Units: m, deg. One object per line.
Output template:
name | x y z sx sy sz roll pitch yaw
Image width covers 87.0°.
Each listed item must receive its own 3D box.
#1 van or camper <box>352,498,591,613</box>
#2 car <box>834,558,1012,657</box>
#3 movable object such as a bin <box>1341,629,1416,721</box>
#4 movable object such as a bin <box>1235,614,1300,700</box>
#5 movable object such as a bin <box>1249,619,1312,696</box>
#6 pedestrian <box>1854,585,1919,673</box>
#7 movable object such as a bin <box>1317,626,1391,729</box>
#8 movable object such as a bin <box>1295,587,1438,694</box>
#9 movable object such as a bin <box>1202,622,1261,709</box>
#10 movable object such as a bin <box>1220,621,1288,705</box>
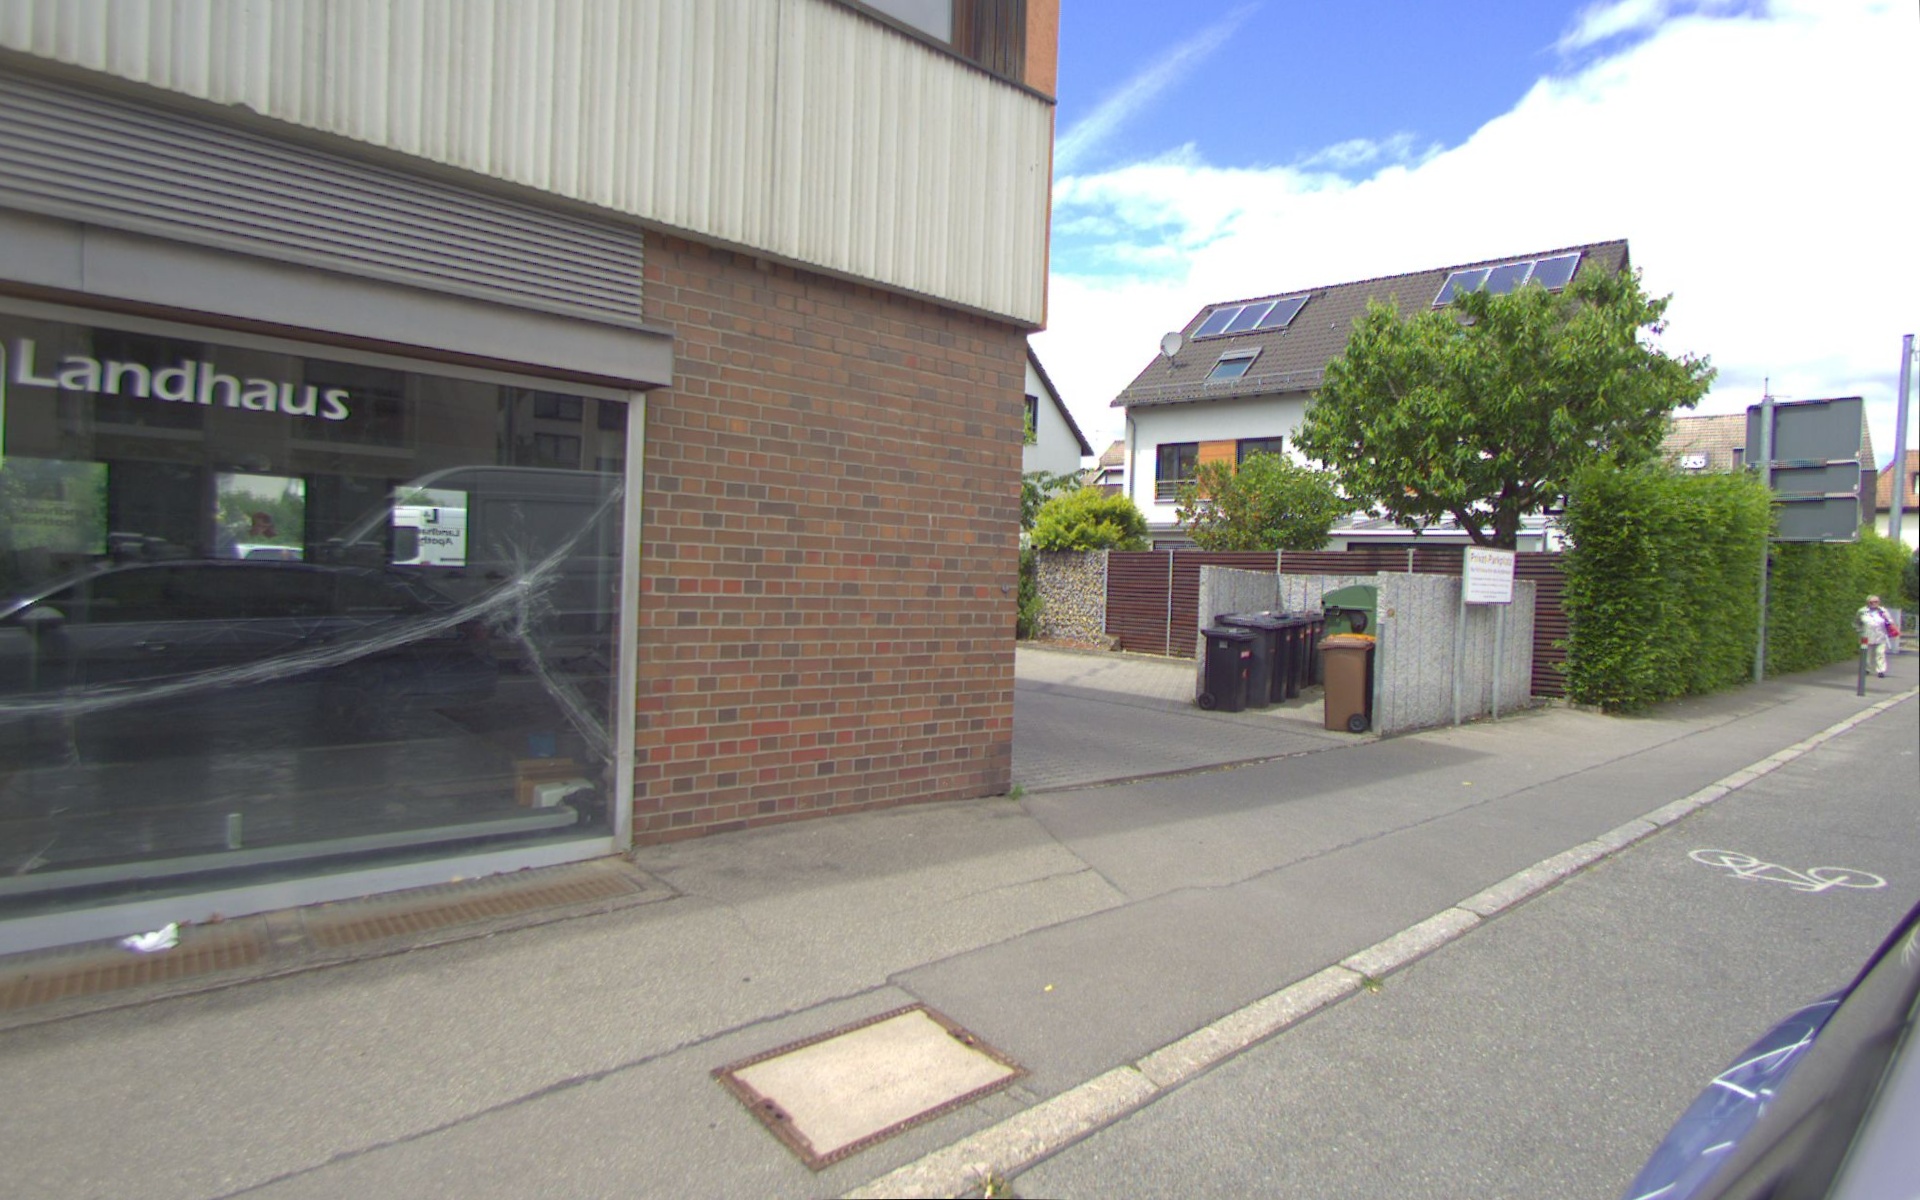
van or camper | -12.048 -1.068 25.476 2.034 2.574 5.474 2 1 21
car | -0.548 0.078 18.351 1.768 1.555 3.767 2 2 23
movable object such as a bin | 4.495 0.787 10.860 0.532 0.903 0.668 2 1 43
movable object such as a bin | 3.732 0.678 12.279 0.624 0.979 0.534 1 1 33
movable object such as a bin | 4.033 0.711 12.733 0.630 0.903 0.534 1 1 33
pedestrian | 18.059 0.549 19.700 0.641 1.637 0.801 1 3 -39
movable object such as a bin | 4.008 0.762 10.282 0.530 0.963 0.678 1 1 36
movable object such as a bin | 5.308 0.487 13.197 1.509 1.278 1.190 0 1 -43
movable object such as a bin | 3.061 0.723 11.403 0.490 0.924 0.534 1 1 33
movable object such as a bin | 3.439 0.720 11.816 0.630 0.903 0.534 1 1 33
